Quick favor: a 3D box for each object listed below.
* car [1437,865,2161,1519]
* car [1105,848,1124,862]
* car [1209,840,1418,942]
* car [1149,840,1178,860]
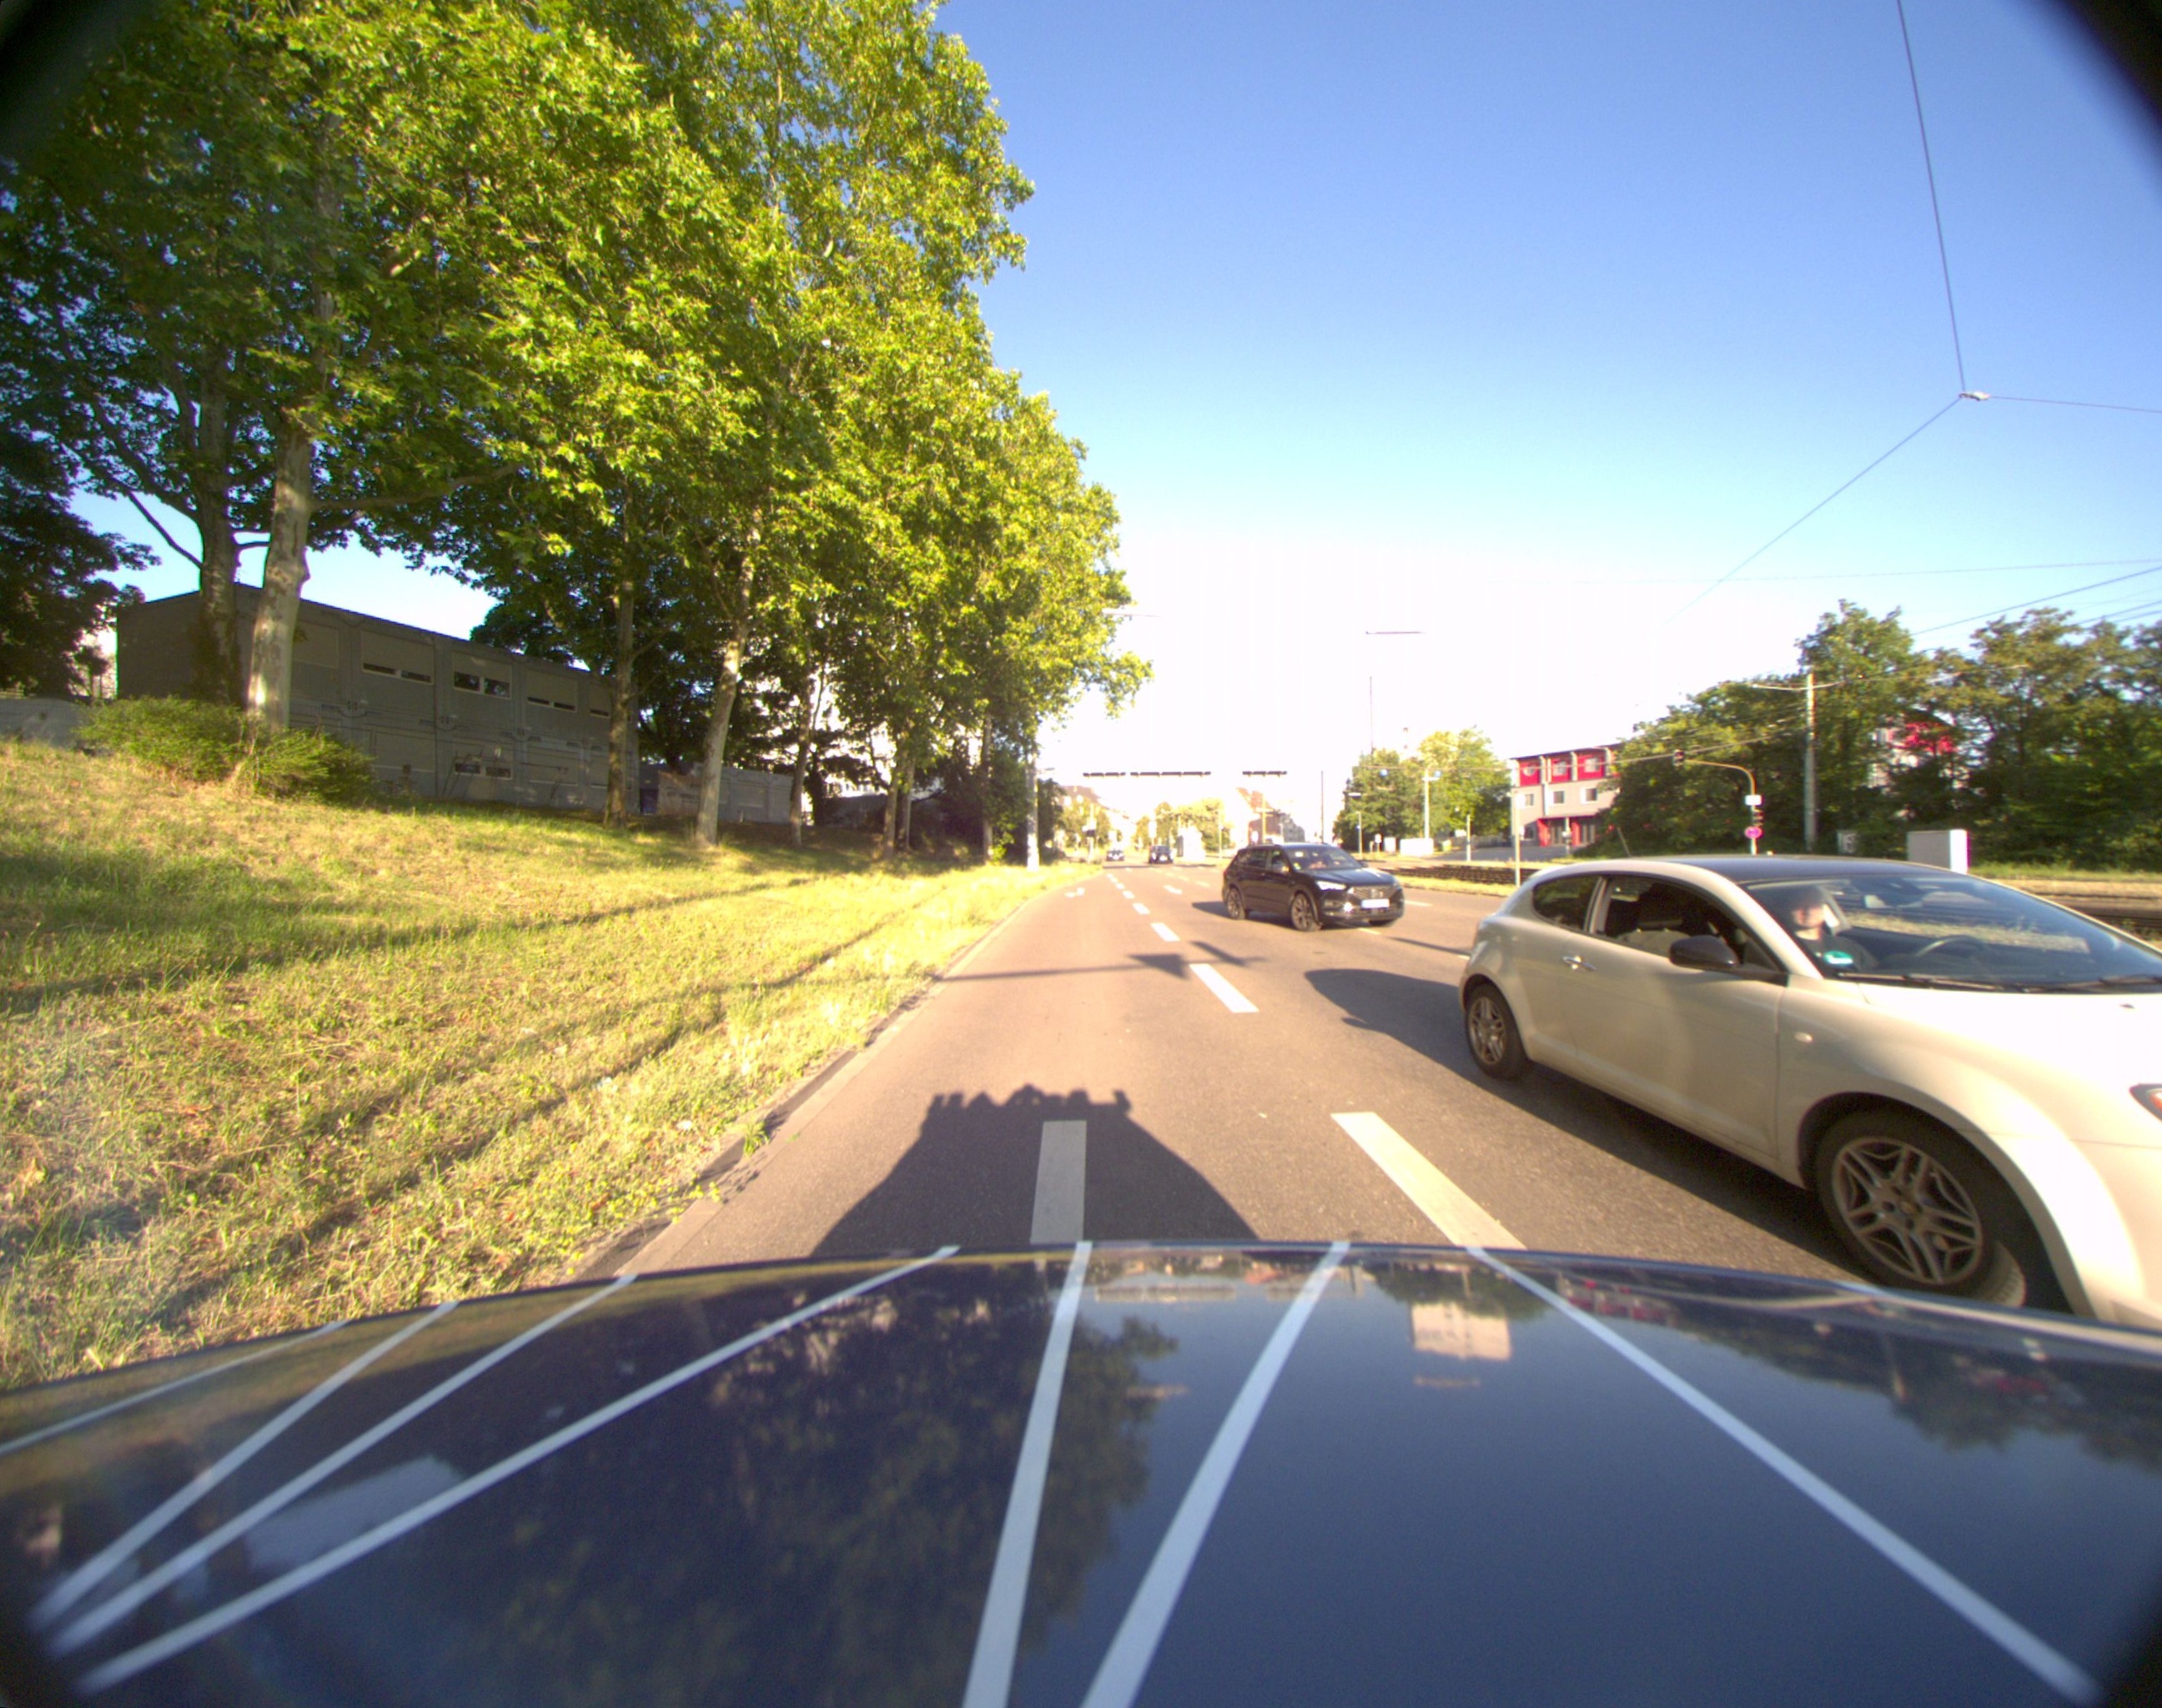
[{"bbox_3d":[3.444,0.839,3.447,1.741,1.496,4.000,-1,0,-1],"label":"car"},{"bbox_3d":[3.492,0.103,79.523,1.741,1.429,3.999,-1,0,-1],"label":"car"},{"bbox_3d":[4.407,0.627,15.302,1.820,1.670,4.617,-2,0,-15],"label":"car"},{"bbox_3d":[7.126,-0.331,65.713,1.906,1.652,4.275,-1,0,-1],"label":"car"}]
